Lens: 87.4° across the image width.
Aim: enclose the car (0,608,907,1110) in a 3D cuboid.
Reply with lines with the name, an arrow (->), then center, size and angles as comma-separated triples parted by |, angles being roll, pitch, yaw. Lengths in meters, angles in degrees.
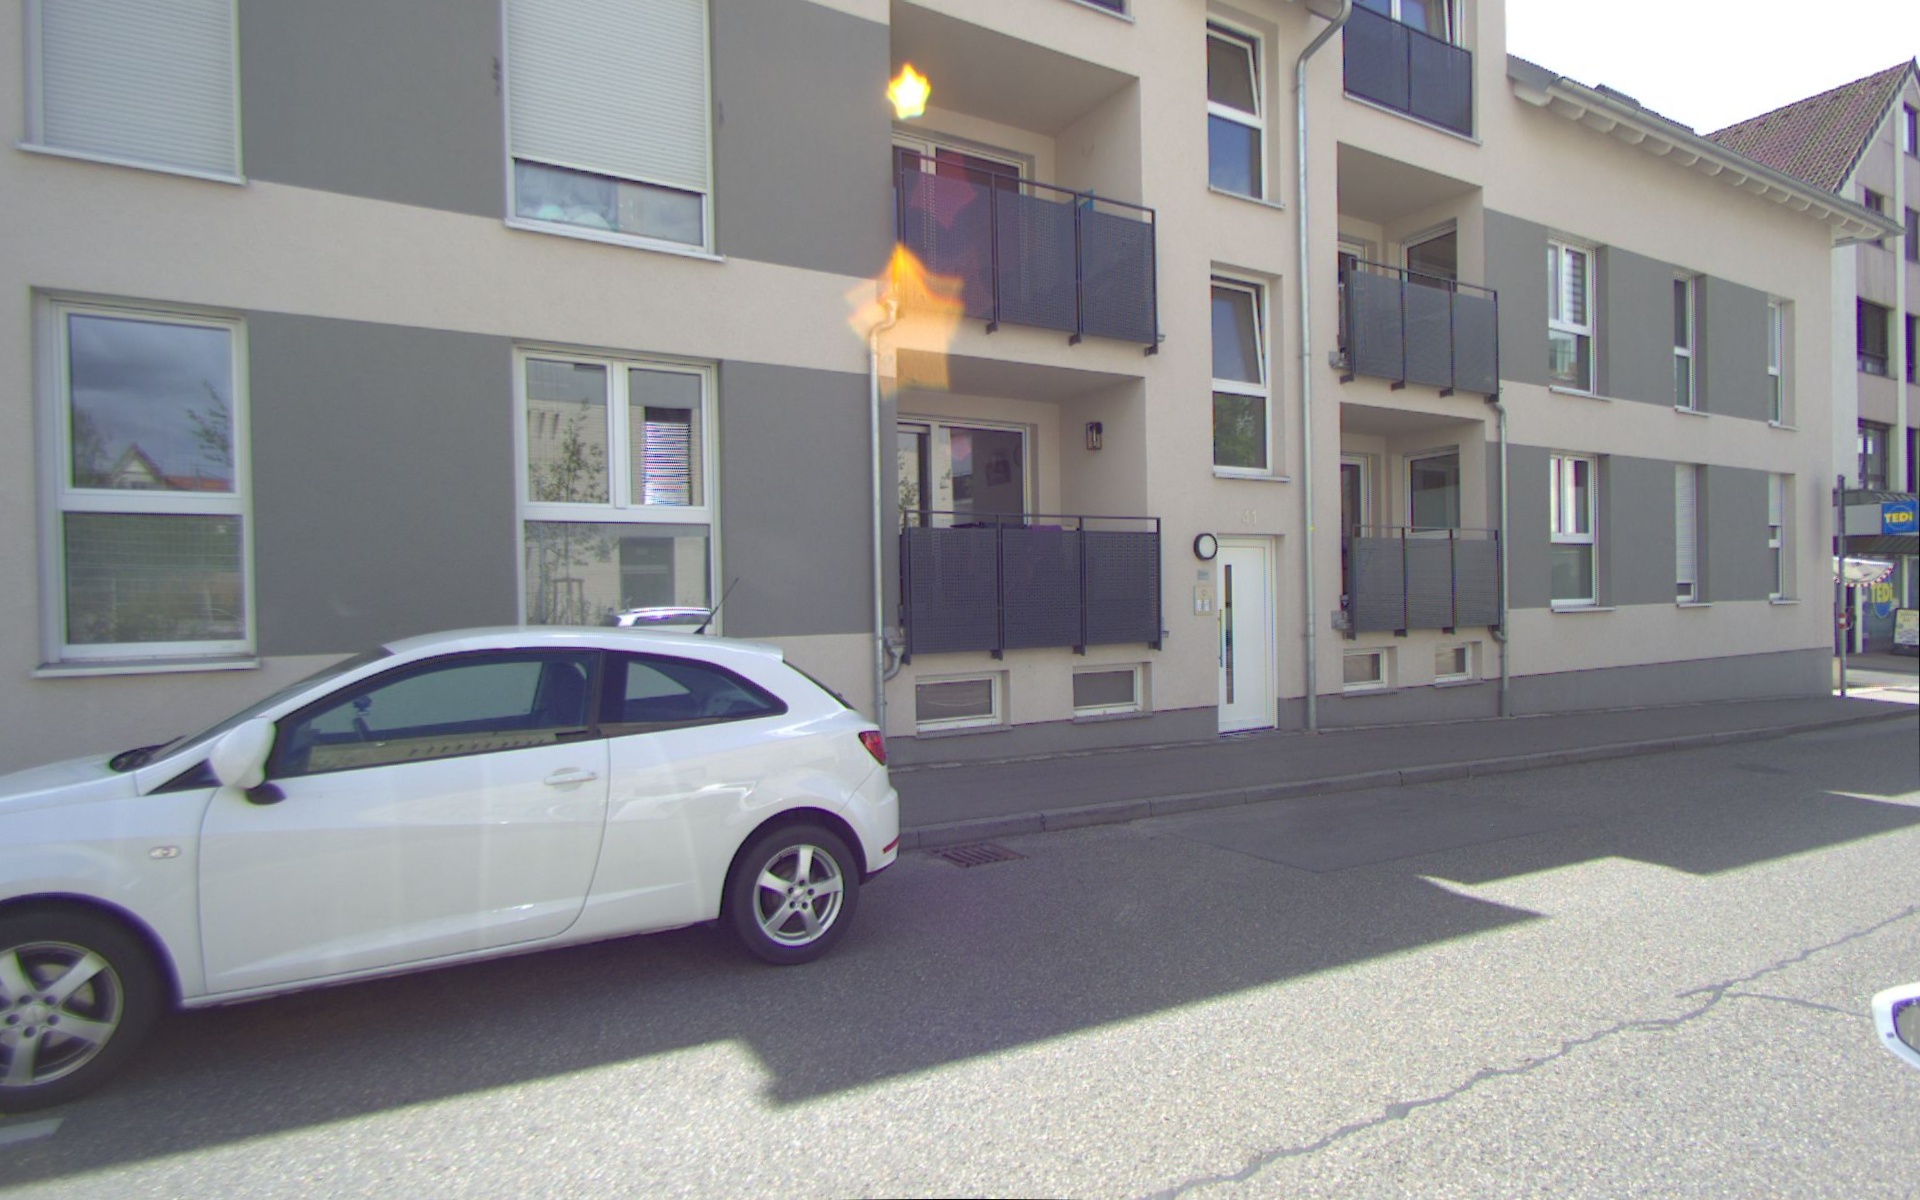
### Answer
car -> -2.218, 0.779, 4.224 | 3.656, 1.437, 1.638 | 1, 0, -31
